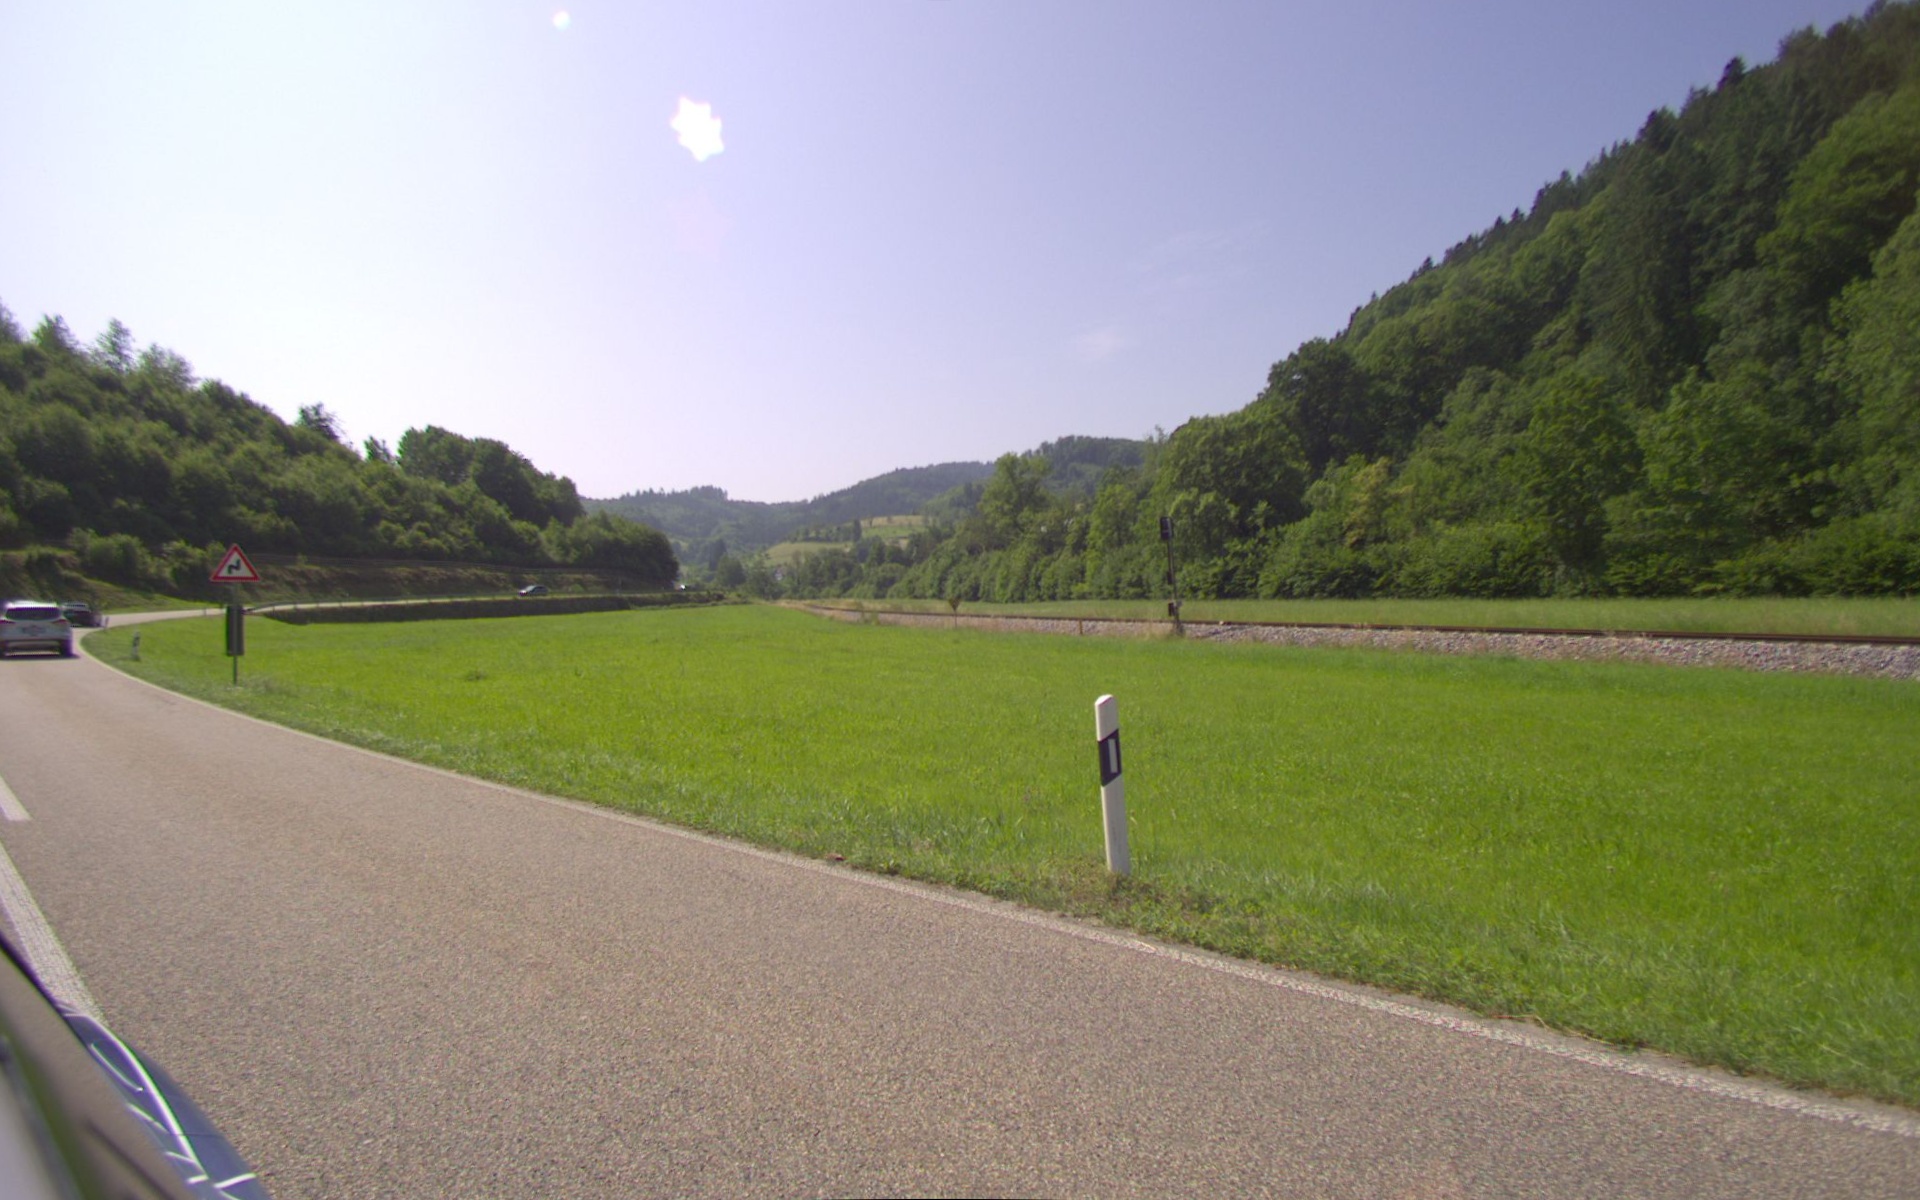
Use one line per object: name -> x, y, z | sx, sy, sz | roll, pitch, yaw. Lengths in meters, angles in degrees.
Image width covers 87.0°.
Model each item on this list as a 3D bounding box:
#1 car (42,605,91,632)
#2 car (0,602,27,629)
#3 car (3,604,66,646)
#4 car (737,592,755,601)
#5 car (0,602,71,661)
car -> -54.330, 1.133, 61.588 | 1.891, 1.482, 4.520 | 3, -1, -38
car -> -58.487, 0.939, 61.381 | 2.112, 1.502, 4.683 | 4, -4, -35
car -> -39.102, 1.004, 42.853 | 1.843, 1.636, 4.517 | -1, 0, -41
car -> -45.941, -0.724, 217.243 | 1.936, 1.753, 4.876 | 0, 0, 13
car -> -28.968, 0.957, 31.368 | 1.893, 1.727, 4.162 | 0, -1, -45
